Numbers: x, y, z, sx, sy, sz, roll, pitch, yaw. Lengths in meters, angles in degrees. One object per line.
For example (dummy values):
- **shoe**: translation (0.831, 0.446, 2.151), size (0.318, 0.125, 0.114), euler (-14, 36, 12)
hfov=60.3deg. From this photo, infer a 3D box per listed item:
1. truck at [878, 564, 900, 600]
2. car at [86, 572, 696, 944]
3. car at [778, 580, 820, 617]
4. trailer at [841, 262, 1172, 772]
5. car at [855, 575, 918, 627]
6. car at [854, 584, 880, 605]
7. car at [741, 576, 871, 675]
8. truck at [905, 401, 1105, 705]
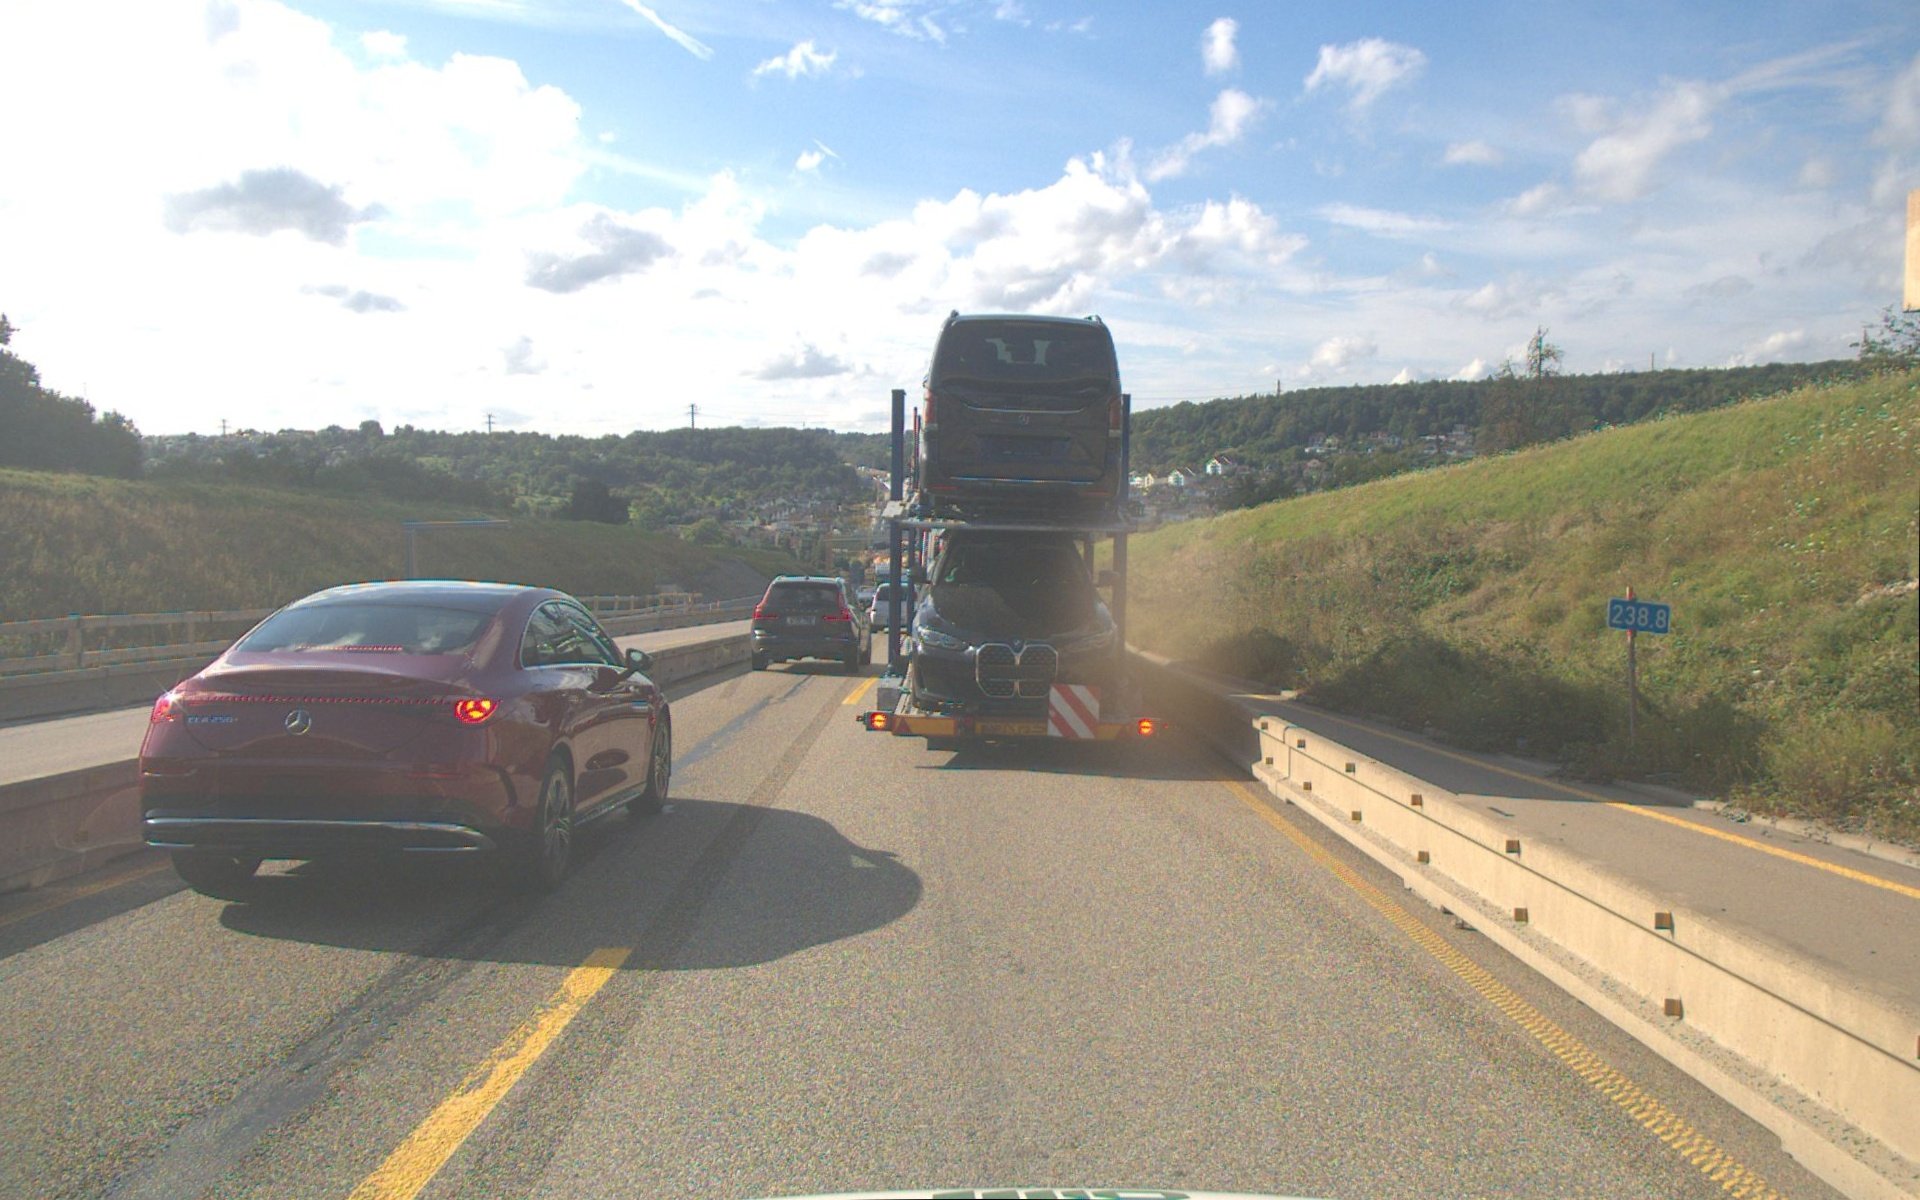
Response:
- **truck**: translation (-8.600, -2.174, 199.864), size (2.562, 4.226, 5.779), euler (0, 0, -2)
- **car**: translation (-2.758, 0.628, 9.274), size (1.786, 1.518, 4.684), euler (1, 1, 0)
- **car**: translation (-7.898, -0.114, 81.355), size (1.699, 1.688, 4.217), euler (-3, 1, -1)
- **trailer**: translation (0.491, -0.717, 19.018), size (2.652, 4.099, 11.421), euler (0, 0, 1)
- **car**: translation (-2.367, 0.002, 54.534), size (1.759, 1.624, 4.744), euler (-1, 1, 1)
- **car**: translation (-6.987, -0.406, 124.461), size (1.698, 1.450, 4.627), euler (-3, 0, -1)
- **car**: translation (-2.701, 0.398, 30.065), size (1.953, 1.653, 4.750), euler (1, 1, -1)
- **truck**: translation (0.619, -0.640, 24.764), size (2.623, 3.990, 6.028), euler (0, 0, 0)
